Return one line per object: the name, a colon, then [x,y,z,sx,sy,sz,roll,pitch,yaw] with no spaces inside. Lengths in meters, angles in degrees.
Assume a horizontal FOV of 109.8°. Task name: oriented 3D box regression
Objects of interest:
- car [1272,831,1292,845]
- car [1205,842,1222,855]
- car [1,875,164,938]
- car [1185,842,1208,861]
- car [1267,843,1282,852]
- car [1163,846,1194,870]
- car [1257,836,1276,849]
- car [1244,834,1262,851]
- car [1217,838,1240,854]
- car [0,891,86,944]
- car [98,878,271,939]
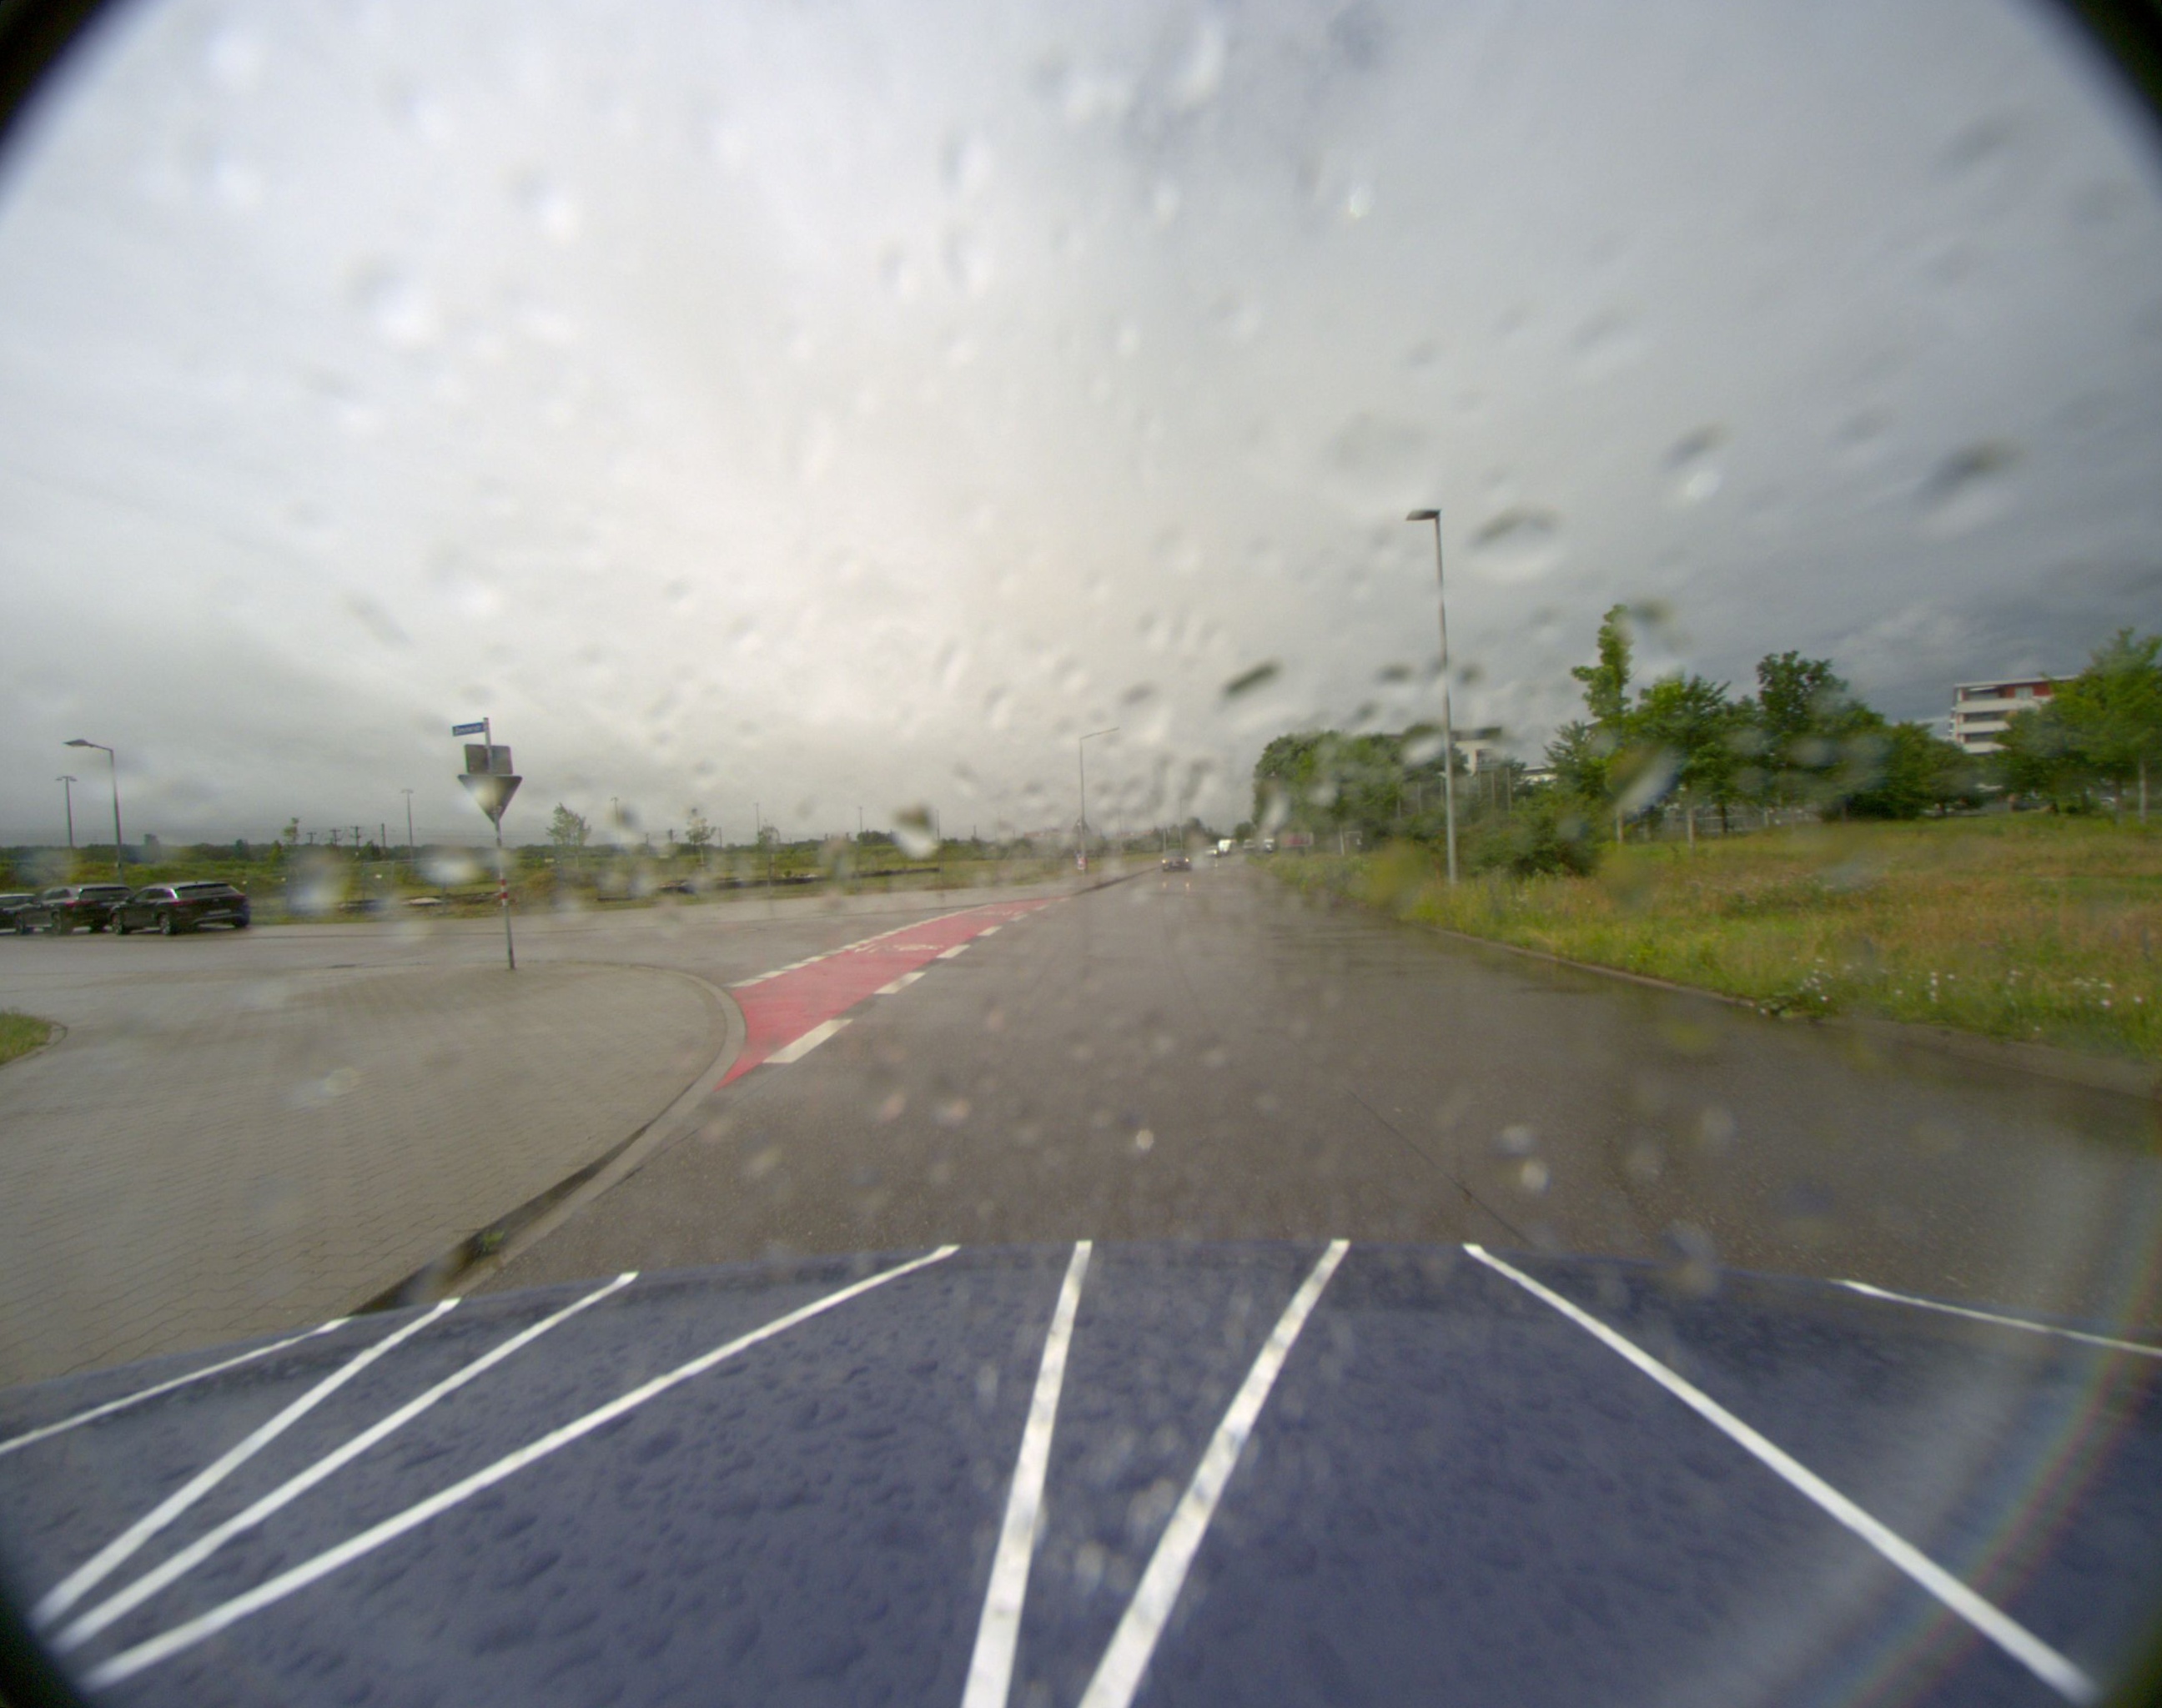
car: [42.533,-3.366,160.354,2.472,2.939,6.898,-1,1,29]
car: [17.256,-0.731,98.824,1.840,1.510,4.361,-3,0,15]
car: [-34.206,1.783,26.063,3.993,1.717,2.002,-6,-1,17]
car: [11.619,-0.275,76.218,2.009,1.695,4.332,-4,0,10]
car: [35.043,-1.191,137.454,1.839,1.510,4.364,-2,0,24]
car: [6.563,0.232,51.072,1.872,1.510,4.360,0,1,10]
car: [36.418,-2.300,148.828,2.070,2.514,6.668,-1,1,28]
car: [30.882,-2.080,136.208,2.146,2.867,5.284,0,2,25]
car: [23.450,-1.302,120.406,2.093,2.459,5.956,-1,1,26]
car: [-38.647,2.363,27.381,3.993,1.631,2.002,-6,-1,17]
car: [-28.587,1.721,24.274,3.992,1.609,2.001,-2,3,17]
